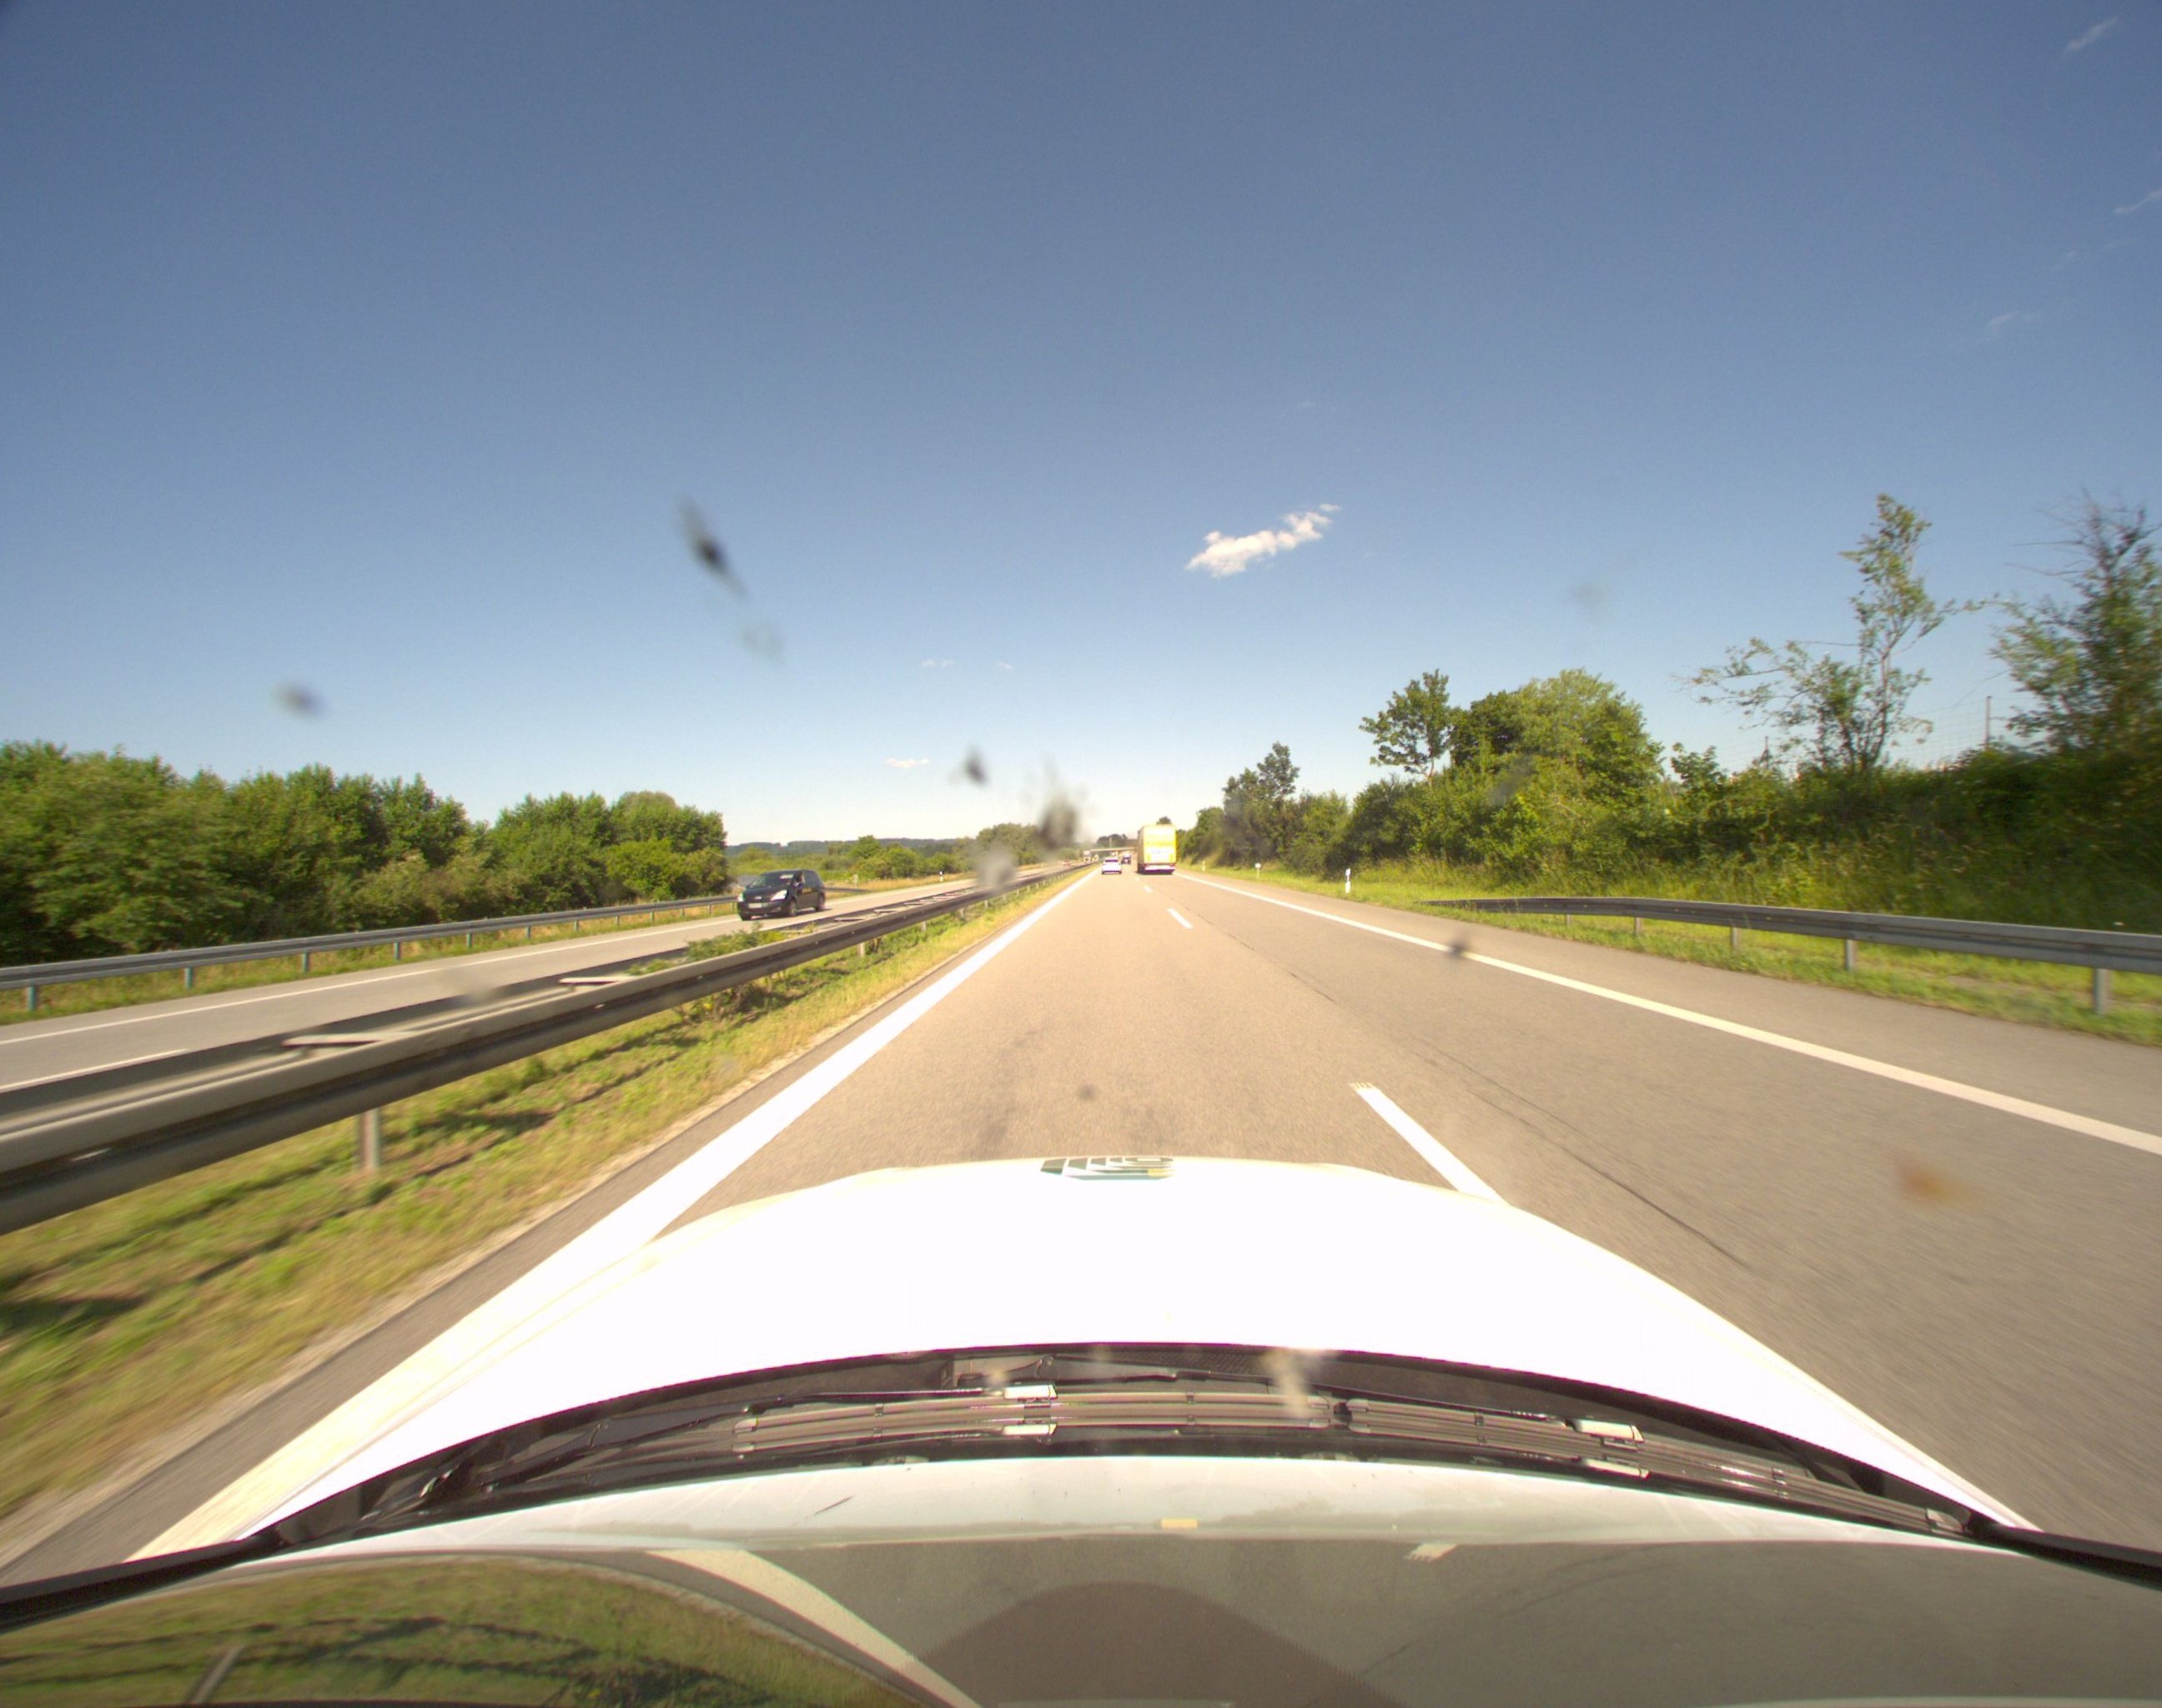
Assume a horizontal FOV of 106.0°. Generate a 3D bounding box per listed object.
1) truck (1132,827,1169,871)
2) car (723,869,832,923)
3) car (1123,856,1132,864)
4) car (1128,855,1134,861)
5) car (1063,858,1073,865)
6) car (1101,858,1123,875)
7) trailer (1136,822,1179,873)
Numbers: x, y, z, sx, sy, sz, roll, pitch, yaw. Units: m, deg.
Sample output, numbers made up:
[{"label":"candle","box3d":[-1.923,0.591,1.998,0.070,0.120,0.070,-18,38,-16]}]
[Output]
[{"label":"truck","box3d":[6.671,-0.452,78.566,3.157,4.114,6.390,-1,0,1]},{"label":"car","box3d":[-10.417,1.375,28.401,1.823,1.571,4.658,-4,-1,2]},{"label":"car","box3d":[8.939,1.203,156.491,1.835,1.520,4.003,-1,0,3]},{"label":"car","box3d":[15.927,1.227,260.279,1.895,1.683,4.733,0,0,2]},{"label":"car","box3d":[-2.890,1.634,184.065,1.723,1.511,4.484,-4,-1,4]},{"label":"car","box3d":[2.803,1.090,72.241,1.835,1.415,4.003,-1,0,3]},{"label":"trailer","box3d":[6.547,-0.497,71.555,3.172,4.059,13.195,-1,0,3]}]
